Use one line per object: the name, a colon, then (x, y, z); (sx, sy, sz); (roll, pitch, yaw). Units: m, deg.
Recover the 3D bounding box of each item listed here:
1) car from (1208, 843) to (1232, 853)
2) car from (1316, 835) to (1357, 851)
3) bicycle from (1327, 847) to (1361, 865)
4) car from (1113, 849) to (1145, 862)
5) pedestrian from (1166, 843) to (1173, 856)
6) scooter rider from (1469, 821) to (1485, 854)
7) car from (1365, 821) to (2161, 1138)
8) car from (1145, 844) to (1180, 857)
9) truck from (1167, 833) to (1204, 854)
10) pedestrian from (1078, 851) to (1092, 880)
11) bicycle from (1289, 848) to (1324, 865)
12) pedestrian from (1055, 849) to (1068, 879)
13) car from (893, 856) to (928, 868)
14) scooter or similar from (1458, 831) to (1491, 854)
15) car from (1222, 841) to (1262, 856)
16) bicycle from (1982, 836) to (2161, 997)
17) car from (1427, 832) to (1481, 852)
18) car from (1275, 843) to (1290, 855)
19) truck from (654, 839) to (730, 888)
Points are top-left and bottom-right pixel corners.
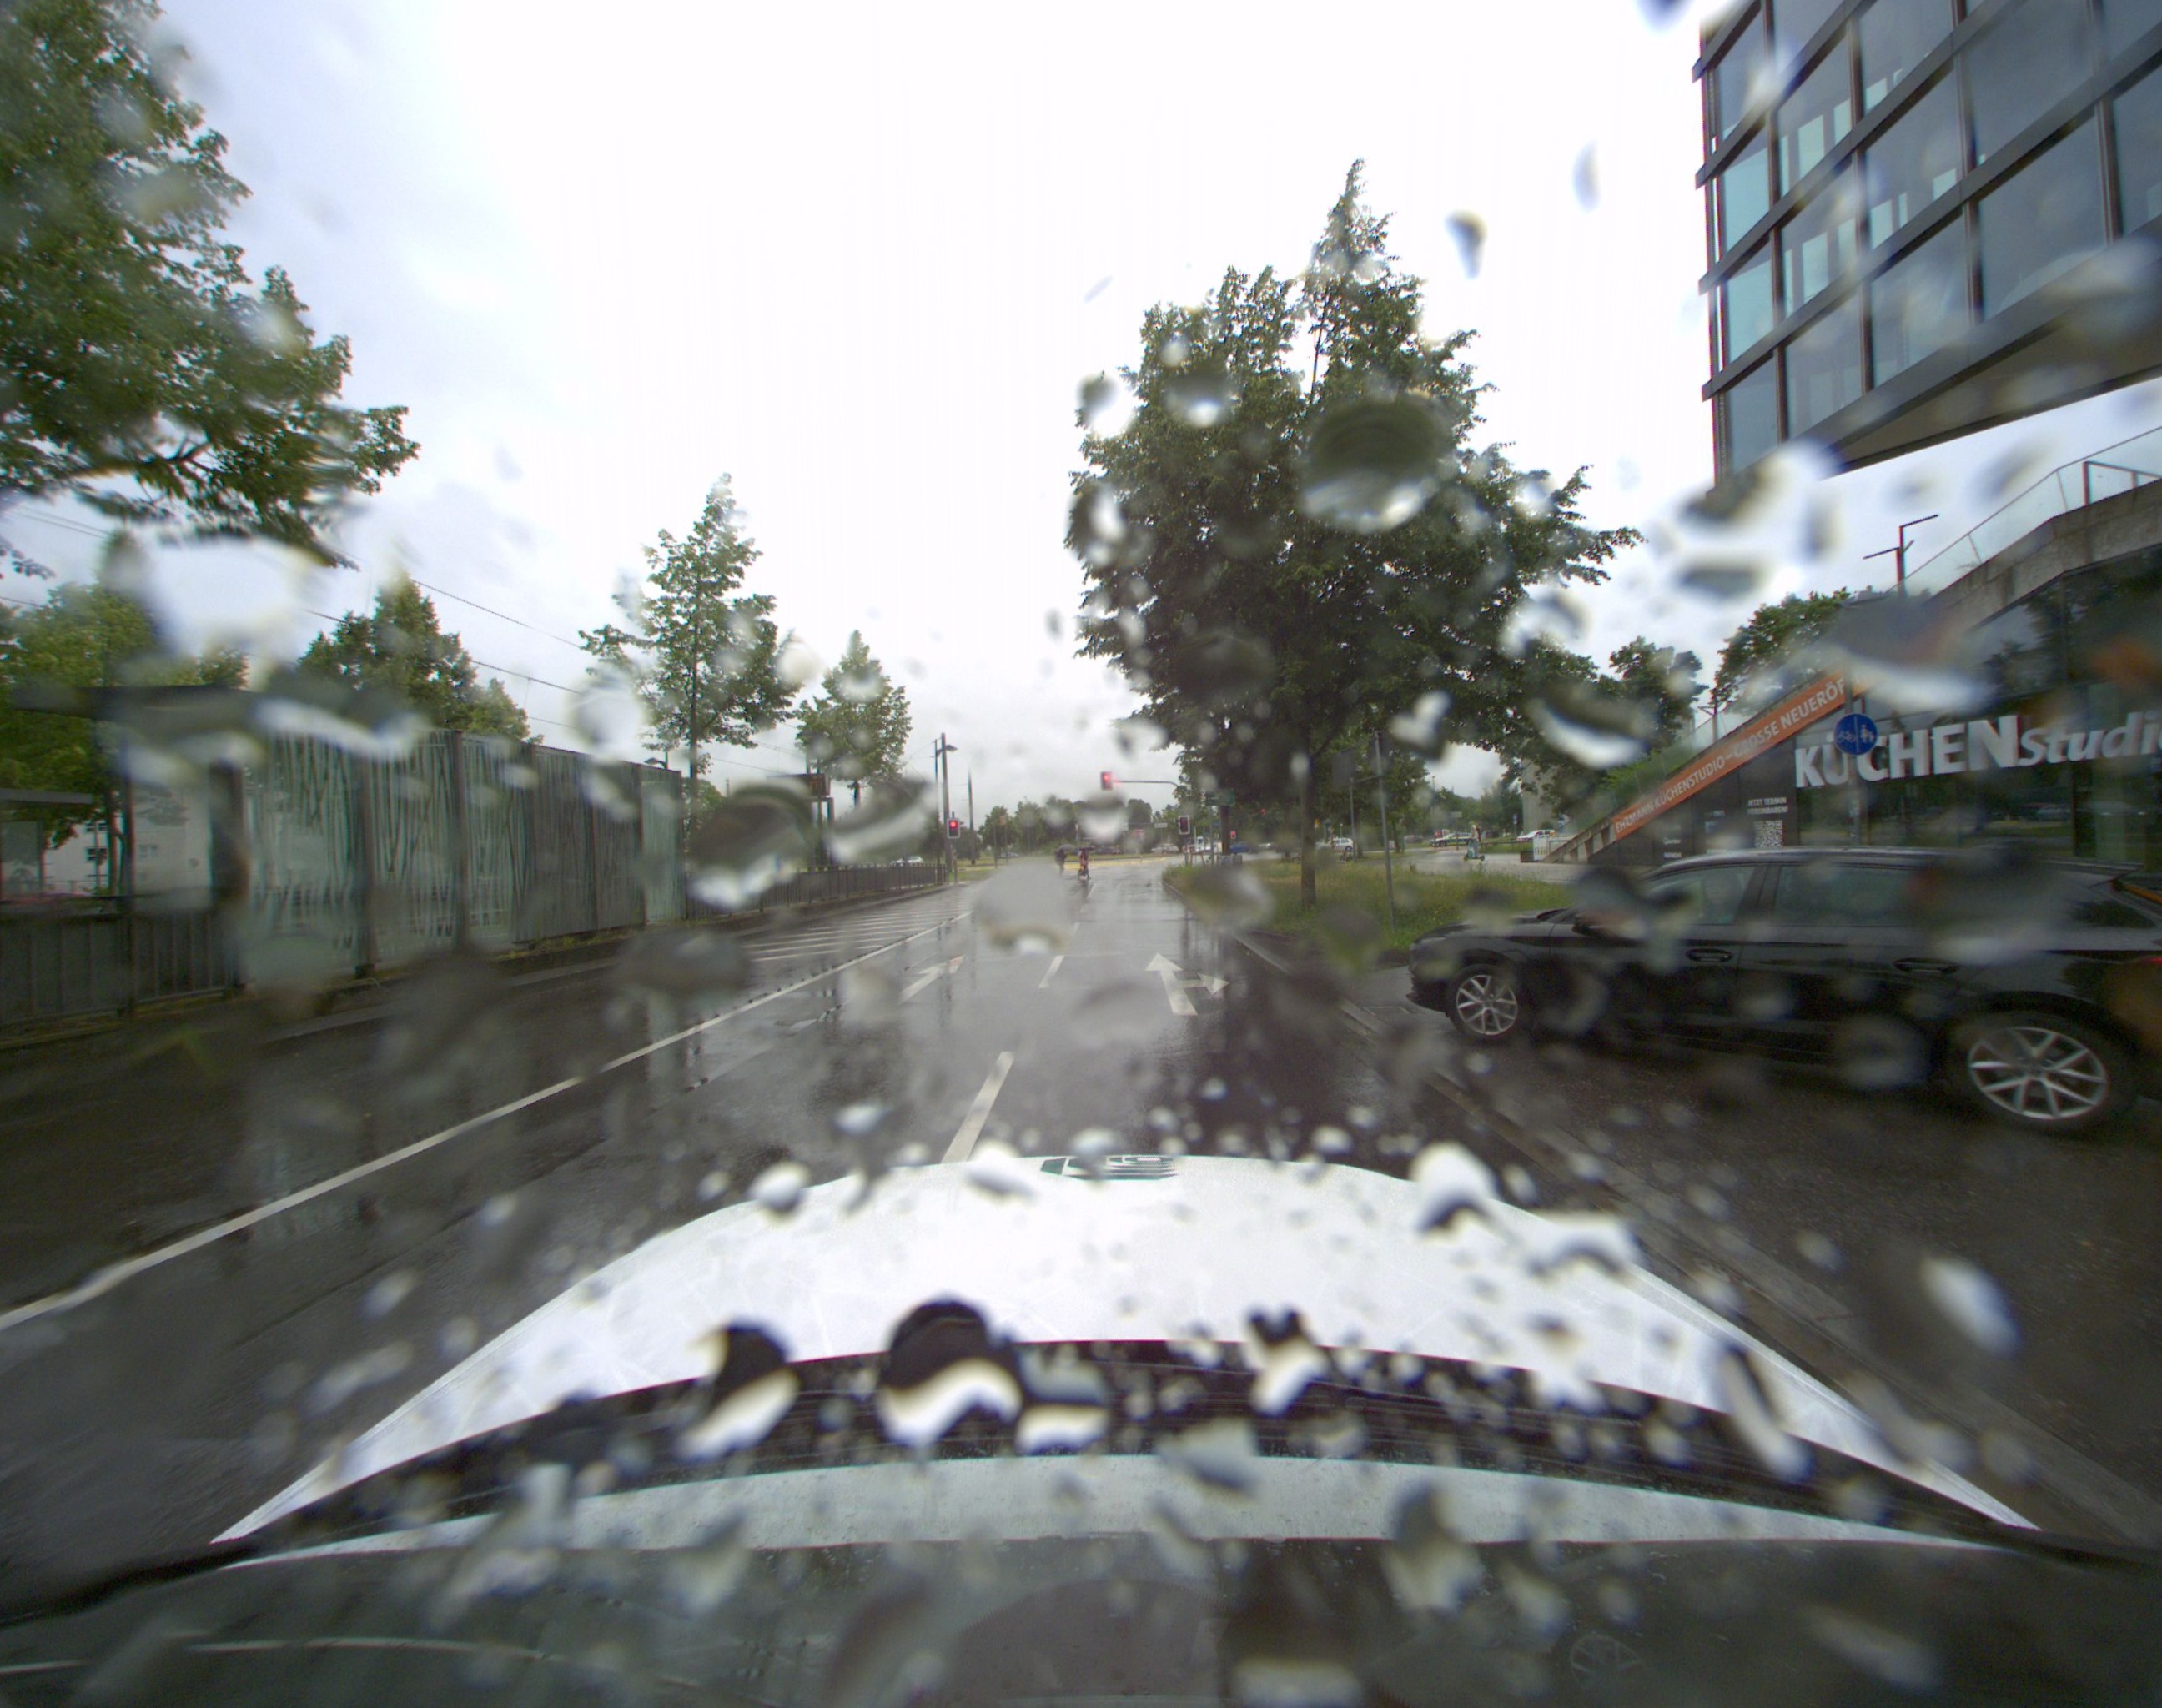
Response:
car: (22.433, -0.963, 131.680); (1.779, 1.662, 4.159); (-1, -1, 44)
car: (27.027, -1.156, 86.289); (3.946, 1.454, 1.629); (-2, 0, 13)
bicycle: (11.604, 0.083, 35.930); (0.453, 0.787, 2.000); (0, 0, -13)
car: (6.280, 0.190, 107.204); (3.935, 1.454, 1.634); (-2, 0, 36)
pedestrian: (9.678, -0.501, 88.871); (0.448, 1.304, 0.489); (-2, 0, 42)
scooter rider: (20.958, -0.846, 43.112); (0.530, 1.709, 0.434); (-3, 0, -3)
car: (4.423, 0.584, 5.614); (1.842, 1.420, 4.295); (-1, 0, -39)
car: (10.031, -0.379, 100.170); (4.061, 1.454, 1.633); (-2, 0, 45)
truck: (13.994, -1.321, 108.292); (2.438, 2.686, 8.106); (0, 0, 26)
pedestrian: (0.205, 0.610, 42.366); (0.678, 1.461, 0.573); (-3, -1, -1)
bicycle: (10.678, 0.108, 38.567); (0.381, 0.787, 1.841); (0, -1, -31)
pedestrian: (-0.979, 0.501, 41.218); (0.618, 1.522, 0.741); (-1, 0, 2)
car: (-23.398, 1.120, 111.749); (4.622, 1.454, 1.613); (-2, 0, -19)
scooter or similar: (20.851, -0.607, 43.151); (1.581, 1.259, 0.447); (0, -1, -3)
car: (17.682, -0.618, 89.532); (3.936, 1.454, 1.634); (-2, 0, 40)
bicycle: (9.288, 0.530, 7.112); (1.825, 1.346, 0.536); (-1, 1, 28)
car: (38.932, -1.261, 85.011); (4.746, 1.851, 1.999); (-2, 0, -1)
car: (25.829, -0.606, 104.374); (1.606, 1.454, 4.004); (-2, 0, 15)
truck: (-32.029, 0.729, 66.837); (9.068, 3.778, 2.711); (-1, -1, 44)
